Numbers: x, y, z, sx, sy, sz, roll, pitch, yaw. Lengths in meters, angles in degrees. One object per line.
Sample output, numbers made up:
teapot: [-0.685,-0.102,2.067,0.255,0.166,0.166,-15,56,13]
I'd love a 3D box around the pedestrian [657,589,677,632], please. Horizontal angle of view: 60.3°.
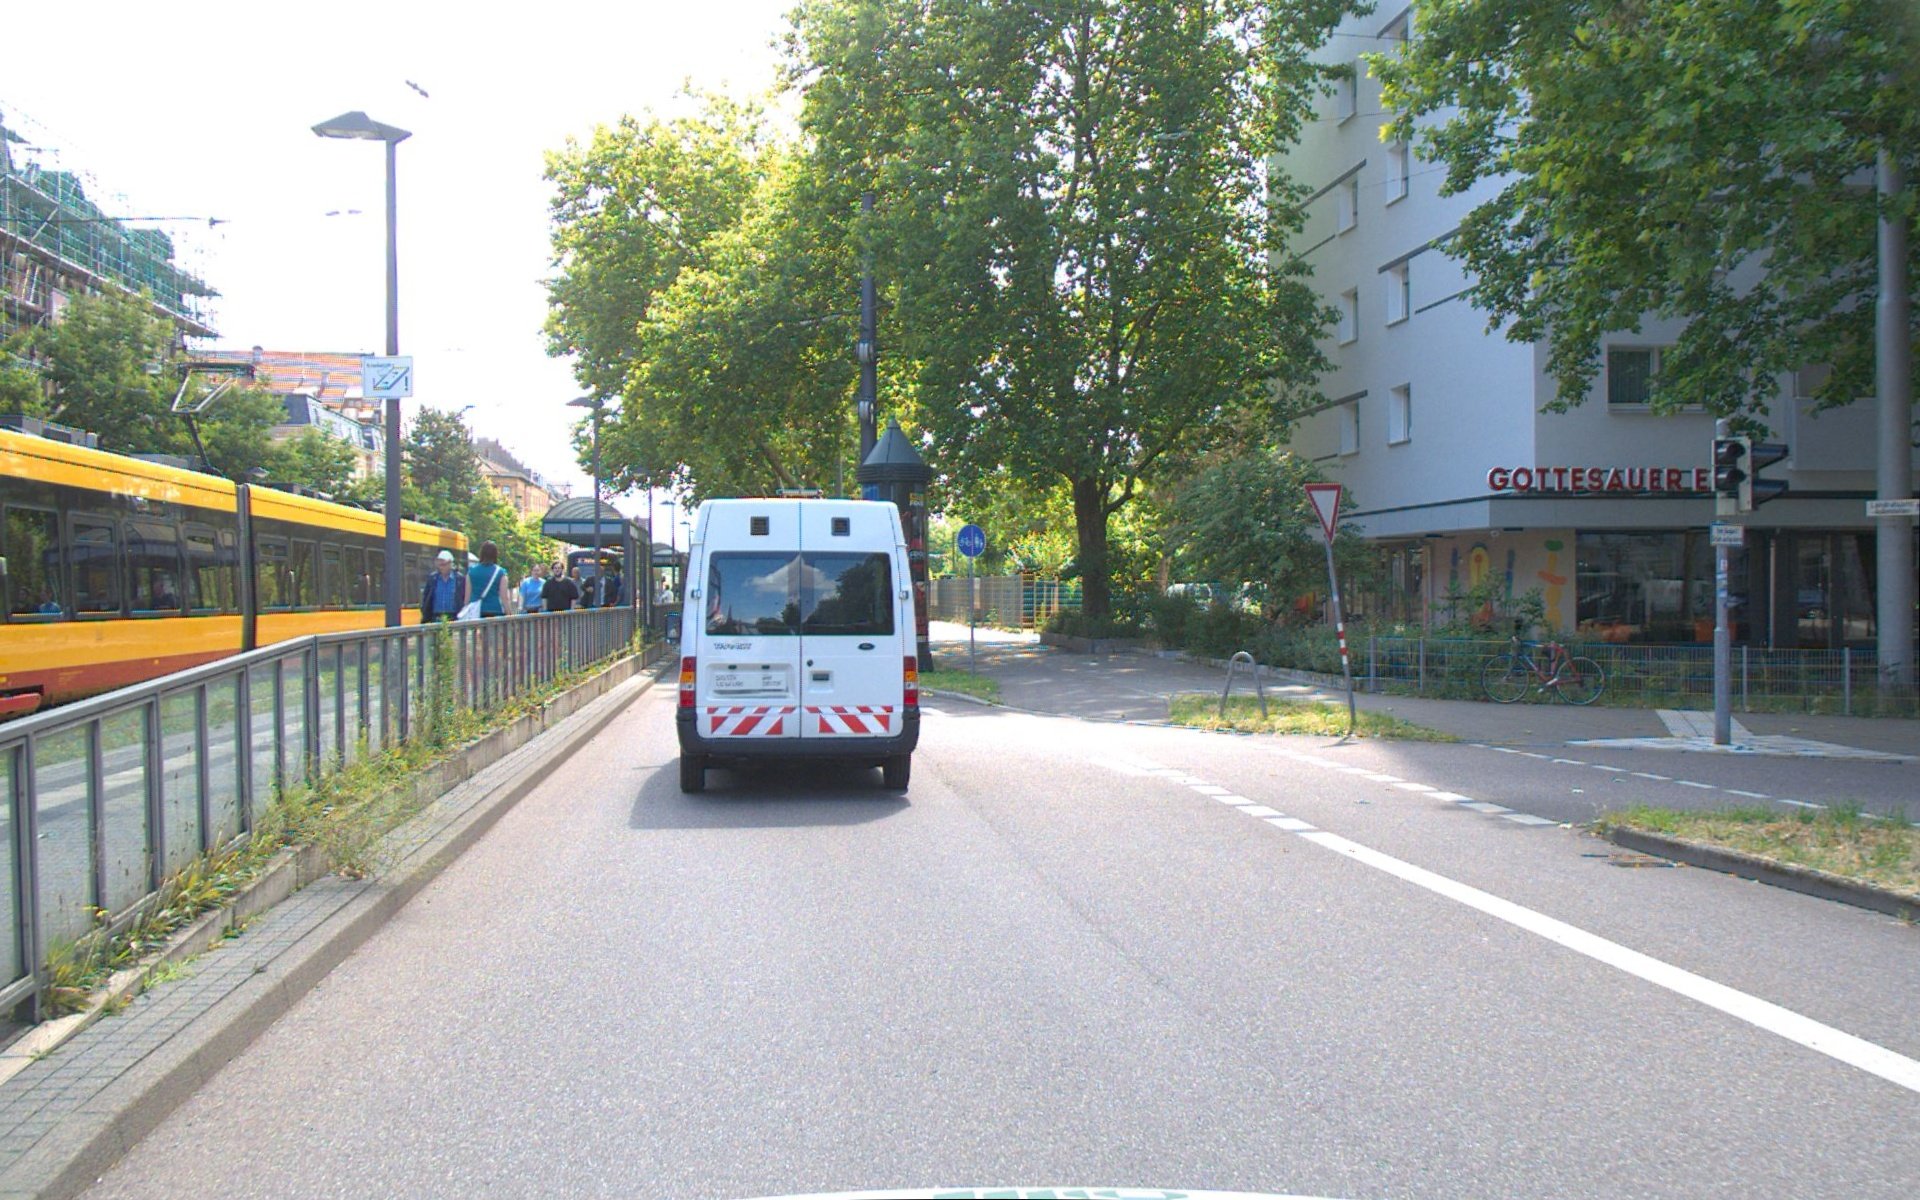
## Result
pedestrian: [-10.634,0.387,60.070,0.663,1.542,0.595,0,0,-9]

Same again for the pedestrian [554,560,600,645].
pedestrian: [-8.461,0.056,36.605,0.869,1.832,1.492,0,0,-8]

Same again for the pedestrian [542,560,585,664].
pedestrian: [-7.291,0.219,30.421,0.688,1.882,0.787,0,0,-8]

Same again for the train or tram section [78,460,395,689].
train or tram section: [-13.373,-0.407,31.729,2.743,3.647,10.386,0,0,-7]

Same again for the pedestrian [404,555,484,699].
pedestrian: [-6.616,0.335,21.253,0.841,1.806,0.875,0,0,-8]

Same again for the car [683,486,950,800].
car: [-1.375,0.308,14.970,2.008,2.374,4.707,-1,0,-7]

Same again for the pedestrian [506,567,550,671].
pedestrian: [-7.929,0.341,30.389,0.688,1.882,0.906,0,0,-8]

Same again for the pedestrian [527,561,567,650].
pedestrian: [-8.657,0.113,34.667,0.698,1.832,1.130,0,0,-8]

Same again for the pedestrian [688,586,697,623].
pedestrian: [-12.099,0.203,74.738,0.378,1.619,0.438,-1,0,-8]

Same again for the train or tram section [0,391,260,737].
train or tram section: [-11.869,-0.382,20.140,2.754,3.647,12.994,0,0,-7]

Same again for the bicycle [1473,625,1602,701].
bicycle: [8.099,0.872,23.242,1.687,1.027,0.534,0,0,20]

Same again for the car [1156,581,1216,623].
car: [10.277,0.088,75.598,1.772,1.846,4.333,0,0,-6]

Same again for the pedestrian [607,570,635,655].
pedestrian: [-7.783,0.283,37.991,0.466,1.933,0.531,0,0,-32]

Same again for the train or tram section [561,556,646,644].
train or tram section: [-16.042,0.009,75.162,2.672,3.647,12.994,0,0,-7]

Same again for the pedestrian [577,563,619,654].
pedestrian: [-7.712,0.169,35.235,0.795,1.905,1.029,0,0,-8]

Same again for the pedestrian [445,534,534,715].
pedestrian: [-5.140,0.261,18.100,0.811,1.932,0.845,0,0,-8]

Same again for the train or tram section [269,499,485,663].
train or tram section: [-14.853,-0.429,43.363,2.672,3.647,12.994,0,0,-7]
